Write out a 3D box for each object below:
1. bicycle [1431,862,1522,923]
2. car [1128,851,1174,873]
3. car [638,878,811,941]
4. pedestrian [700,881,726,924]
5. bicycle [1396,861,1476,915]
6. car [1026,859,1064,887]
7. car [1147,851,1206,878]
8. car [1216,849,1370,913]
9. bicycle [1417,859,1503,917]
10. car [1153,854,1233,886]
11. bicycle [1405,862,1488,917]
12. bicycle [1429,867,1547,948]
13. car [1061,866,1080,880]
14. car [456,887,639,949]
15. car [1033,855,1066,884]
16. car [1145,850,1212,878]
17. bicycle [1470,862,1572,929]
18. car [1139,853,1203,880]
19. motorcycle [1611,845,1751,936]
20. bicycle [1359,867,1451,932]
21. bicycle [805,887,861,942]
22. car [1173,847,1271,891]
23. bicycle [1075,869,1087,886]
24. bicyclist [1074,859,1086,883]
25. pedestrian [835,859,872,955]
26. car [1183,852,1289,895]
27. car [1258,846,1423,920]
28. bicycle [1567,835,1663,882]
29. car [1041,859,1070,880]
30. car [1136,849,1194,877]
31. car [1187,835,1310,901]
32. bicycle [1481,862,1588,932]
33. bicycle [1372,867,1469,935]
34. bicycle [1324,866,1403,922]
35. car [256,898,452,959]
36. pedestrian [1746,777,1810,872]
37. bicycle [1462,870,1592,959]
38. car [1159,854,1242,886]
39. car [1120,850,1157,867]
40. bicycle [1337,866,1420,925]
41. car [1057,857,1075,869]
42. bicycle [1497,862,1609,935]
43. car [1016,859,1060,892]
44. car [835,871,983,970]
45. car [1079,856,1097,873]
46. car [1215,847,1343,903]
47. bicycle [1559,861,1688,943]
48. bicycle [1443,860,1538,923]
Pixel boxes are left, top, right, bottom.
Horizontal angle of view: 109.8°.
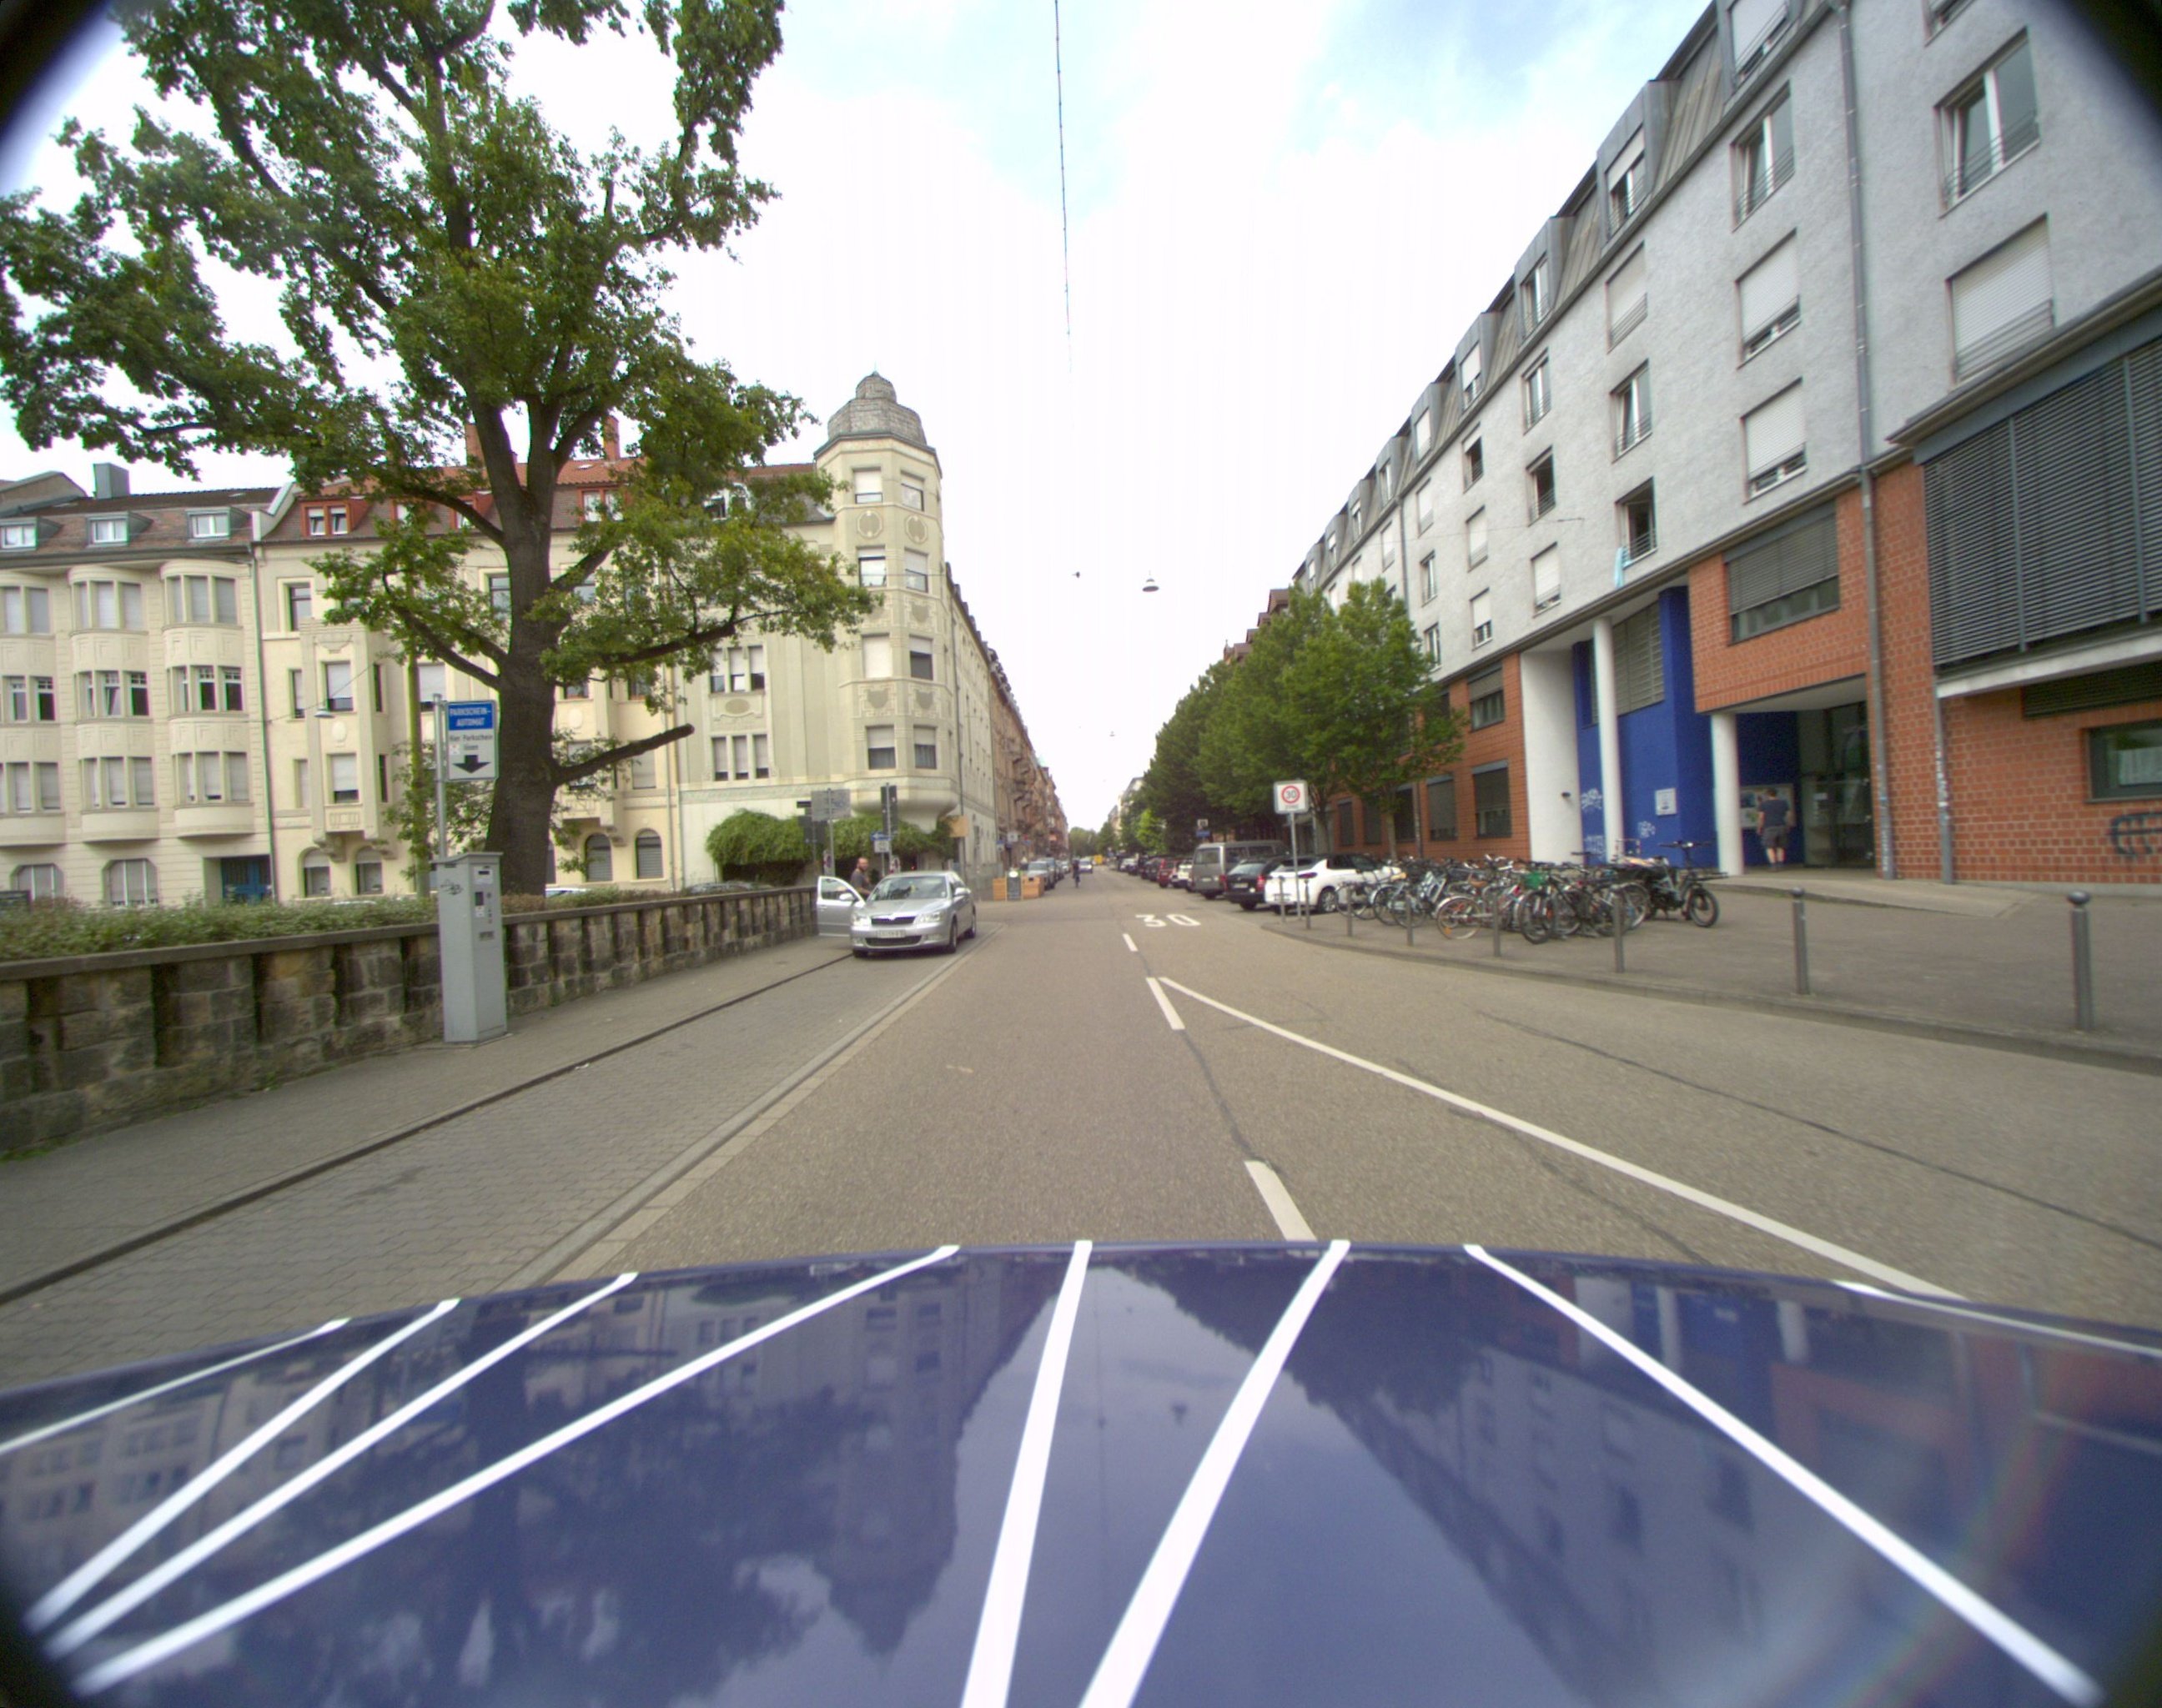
[{"bbox_3d":[7.326,0.715,14.102,1.409,1.020,0.402,-4,0,3],"label":"bicycle"},{"bbox_3d":[6.531,0.732,70.744,4.012,1.846,1.688,-3,-1,-33],"label":"car"},{"bbox_3d":[-10.094,1.558,21.664,4.031,1.460,1.910,-3,0,9],"label":"car"},{"bbox_3d":[-13.050,1.724,26.961,0.548,1.460,0.560,-3,0,2],"label":"pedestrian"},{"bbox_3d":[7.394,0.704,15.862,1.409,1.020,0.402,-4,0,3],"label":"bicycle"},{"bbox_3d":[-2.285,1.227,49.610,1.853,1.661,4.007,-4,-1,5],"label":"car"},{"bbox_3d":[6.919,0.761,55.144,4.012,1.672,1.688,-3,-1,-33],"label":"car"},{"bbox_3d":[6.034,0.713,21.450,4.323,1.460,1.713,-3,0,-33],"label":"car"},{"bbox_3d":[7.362,0.650,14.795,1.409,1.020,0.402,-4,0,3],"label":"bicycle"},{"bbox_3d":[5.976,0.863,40.503,4.012,1.445,1.688,-3,-1,-33],"label":"car"},{"bbox_3d":[7.392,0.711,15.386,1.409,1.020,0.402,-4,0,3],"label":"bicycle"},{"bbox_3d":[5.964,0.778,11.165,1.409,1.032,0.402,-6,0,3],"label":"bicycle"},{"bbox_3d":[-1.240,2.298,90.751,1.853,1.505,4.007,-4,-1,2],"label":"car"},{"bbox_3d":[-15.361,1.823,22.017,4.033,1.526,1.849,-3,-3,2],"label":"car"},{"bbox_3d":[-2.265,1.129,55.636,1.853,1.932,4.007,-4,-1,5],"label":"car"},{"bbox_3d":[6.274,0.647,48.726,4.012,1.558,1.688,-3,-1,-33],"label":"car"},{"bbox_3d":[7.402,0.693,12.798,1.409,1.020,0.402,-4,0,3],"label":"bicycle"},{"bbox_3d":[6.086,0.827,51.295,4.012,1.558,1.688,-3,-1,-33],"label":"car"},{"bbox_3d":[8.581,0.483,10.972,0.585,1.166,1.780,-5,0,2],"label":"motorcycle"},{"bbox_3d":[5.868,0.819,13.810,1.409,1.020,0.402,-6,0,3],"label":"bicycle"},{"bbox_3d":[-5.656,1.362,17.443,0.523,1.099,1.979,-3,-1,2],"label":"bicycle"},{"bbox_3d":[6.101,0.640,32.773,4.012,1.605,1.709,-3,-1,-33],"label":"car"},{"bbox_3d":[-0.007,1.390,45.520,0.586,0.927,1.783,-4,-1,1],"label":"bicycle"},{"bbox_3d":[-0.049,1.021,45.403,0.649,1.408,1.094,-3,0,2],"label":"bicyclist"},{"bbox_3d":[-4.205,0.971,14.066,0.468,1.725,0.410,-3,0,0],"label":"pedestrian"},{"bbox_3d":[6.172,0.764,30.106,4.012,1.438,1.622,-3,-1,-33],"label":"car"},{"bbox_3d":[6.530,0.669,19.051,4.011,1.536,1.599,-3,0,-30],"label":"car"},{"bbox_3d":[13.119,0.108,18.729,1.613,0.920,0.932,-9,-1,12],"label":"bicycle"},{"bbox_3d":[-2.067,1.268,63.076,1.853,1.568,4.007,-4,-1,5],"label":"car"},{"bbox_3d":[6.390,0.654,57.620,4.051,1.846,1.688,-3,-1,-33],"label":"car"},{"bbox_3d":[6.017,0.480,27.207,4.011,1.986,1.858,-5,1,-30],"label":"car"},{"bbox_3d":[7.332,0.691,12.313,1.409,1.020,0.402,-4,0,3],"label":"bicycle"},{"bbox_3d":[5.866,0.807,13.168,1.409,1.032,0.402,-6,0,3],"label":"bicycle"},{"bbox_3d":[5.904,0.825,15.891,1.409,1.020,0.402,-6,0,3],"label":"bicycle"},{"bbox_3d":[-21.154,2.141,22.207,4.033,1.526,1.849,-3,-3,2],"label":"car"},{"bbox_3d":[15.331,-0.628,16.739,0.729,2.002,0.783,-3,0,20],"label":"pedestrian"},{"bbox_3d":[6.012,0.808,10.272,1.409,1.032,0.402,-6,0,3],"label":"bicycle"},{"bbox_3d":[6.066,0.805,38.290,4.012,1.381,1.593,-3,-1,-33],"label":"car"},{"bbox_3d":[6.678,0.546,88.855,4.012,1.746,1.688,-3,-1,-33],"label":"car"},{"bbox_3d":[5.891,0.817,15.083,1.409,1.020,0.402,-6,0,3],"label":"bicycle"},{"bbox_3d":[-1.959,1.157,99.877,1.853,1.505,4.007,-4,-1,5],"label":"car"},{"bbox_3d":[7.303,0.677,11.777,1.409,1.020,0.402,-4,0,3],"label":"bicycle"},{"bbox_3d":[-2.335,1.168,42.395,1.853,1.661,4.007,-4,-1,5],"label":"car"},{"bbox_3d":[-3.049,1.114,14.389,1.759,1.459,4.418,-3,0,0],"label":"car"},{"bbox_3d":[0.934,1.326,96.199,1.942,1.913,4.007,-4,-1,5],"label":"car"},{"bbox_3d":[6.506,0.667,24.811,4.012,1.501,1.706,-4,0,-34],"label":"car"},{"bbox_3d":[7.499,0.655,10.532,1.409,1.020,0.402,-4,0,3],"label":"bicycle"},{"bbox_3d":[7.320,0.667,13.616,1.409,1.020,0.402,-4,0,3],"label":"bicycle"}]
